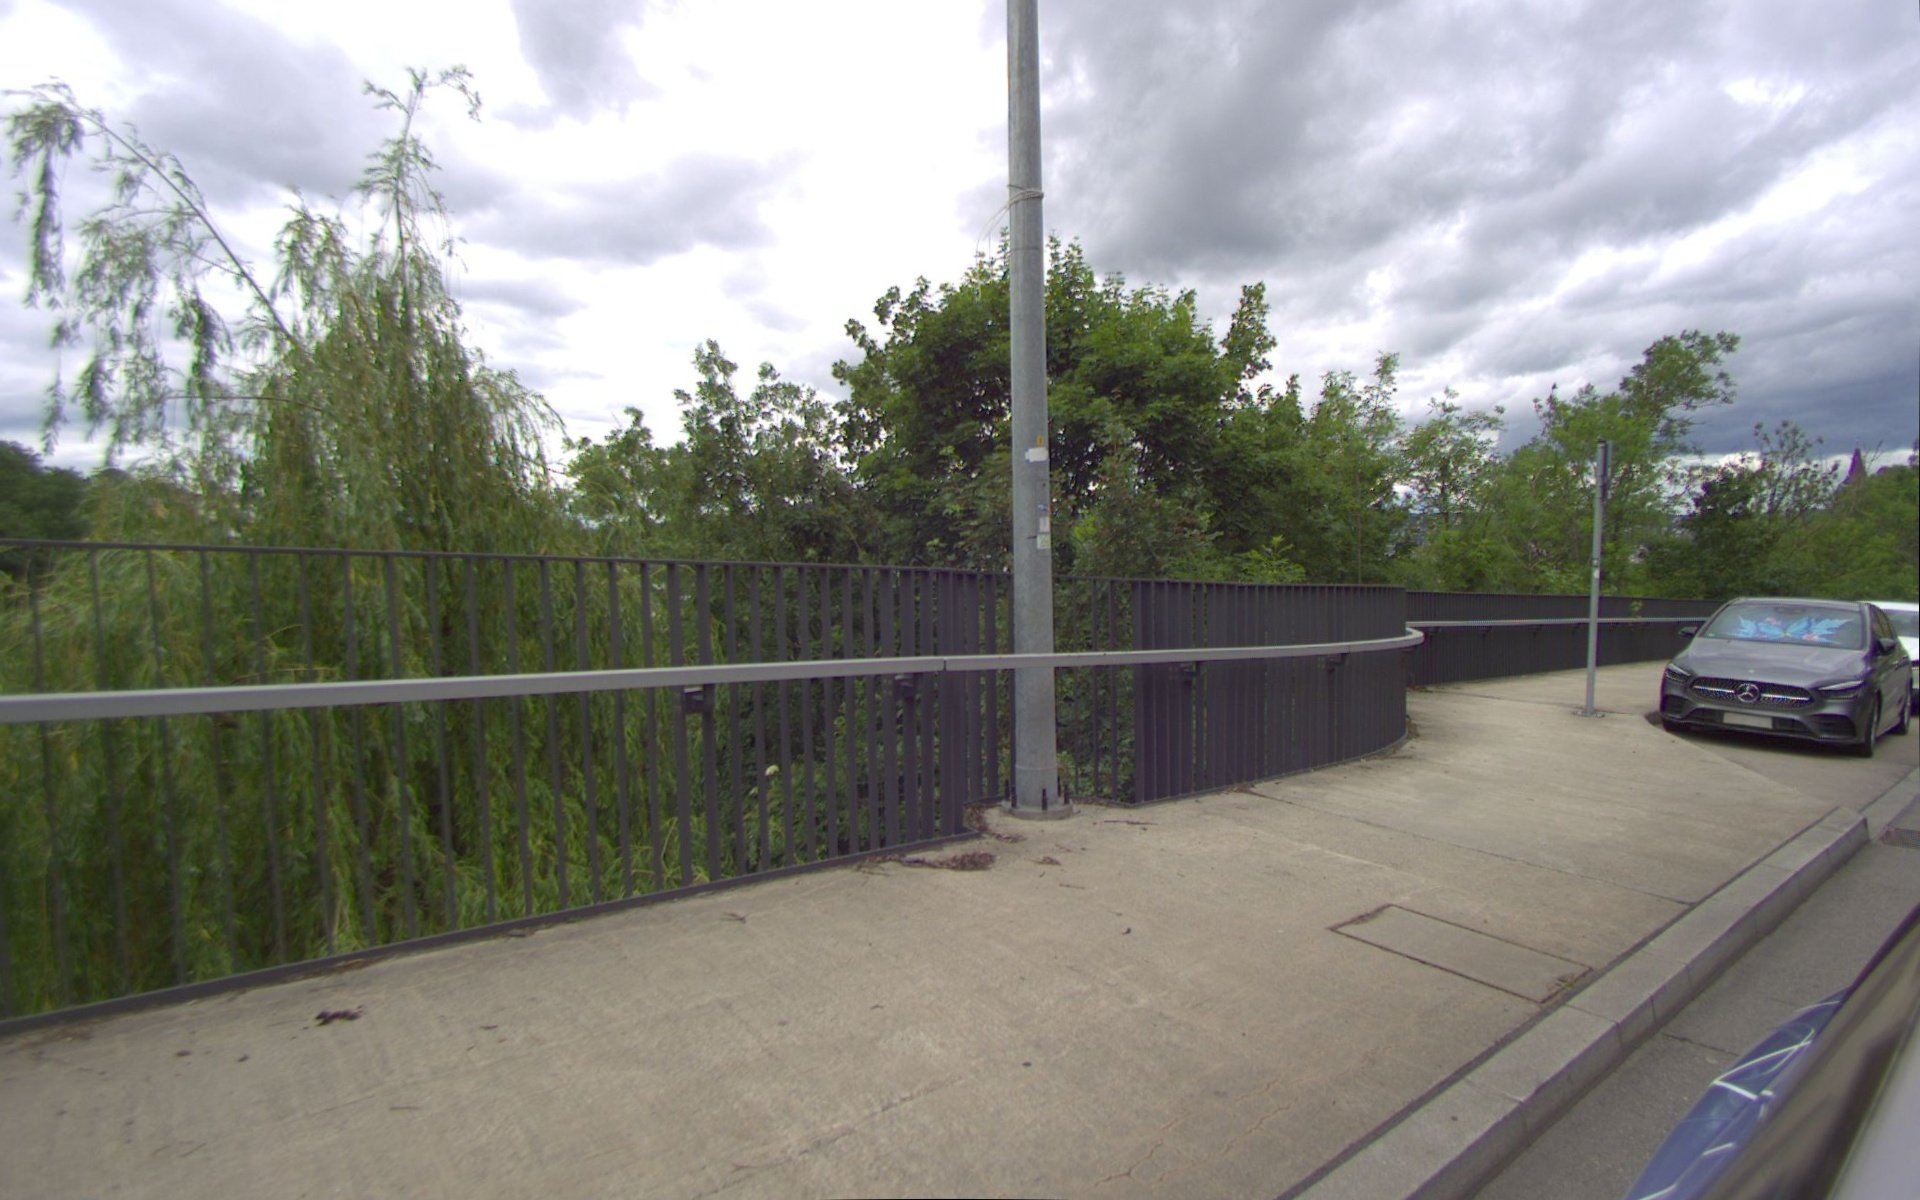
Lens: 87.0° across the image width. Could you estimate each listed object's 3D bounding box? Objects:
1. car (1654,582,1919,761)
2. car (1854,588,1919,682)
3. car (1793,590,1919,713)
[{"bbox_3d":[9.611,0.655,11.464,4.349,1.562,1.761,0,4,-41],"label":"car"},{"bbox_3d":[18.365,0.630,19.065,4.180,1.591,1.663,0,4,-41],"label":"car"},{"bbox_3d":[14.203,0.677,15.294,4.543,1.588,1.730,0,2,-41],"label":"car"}]
